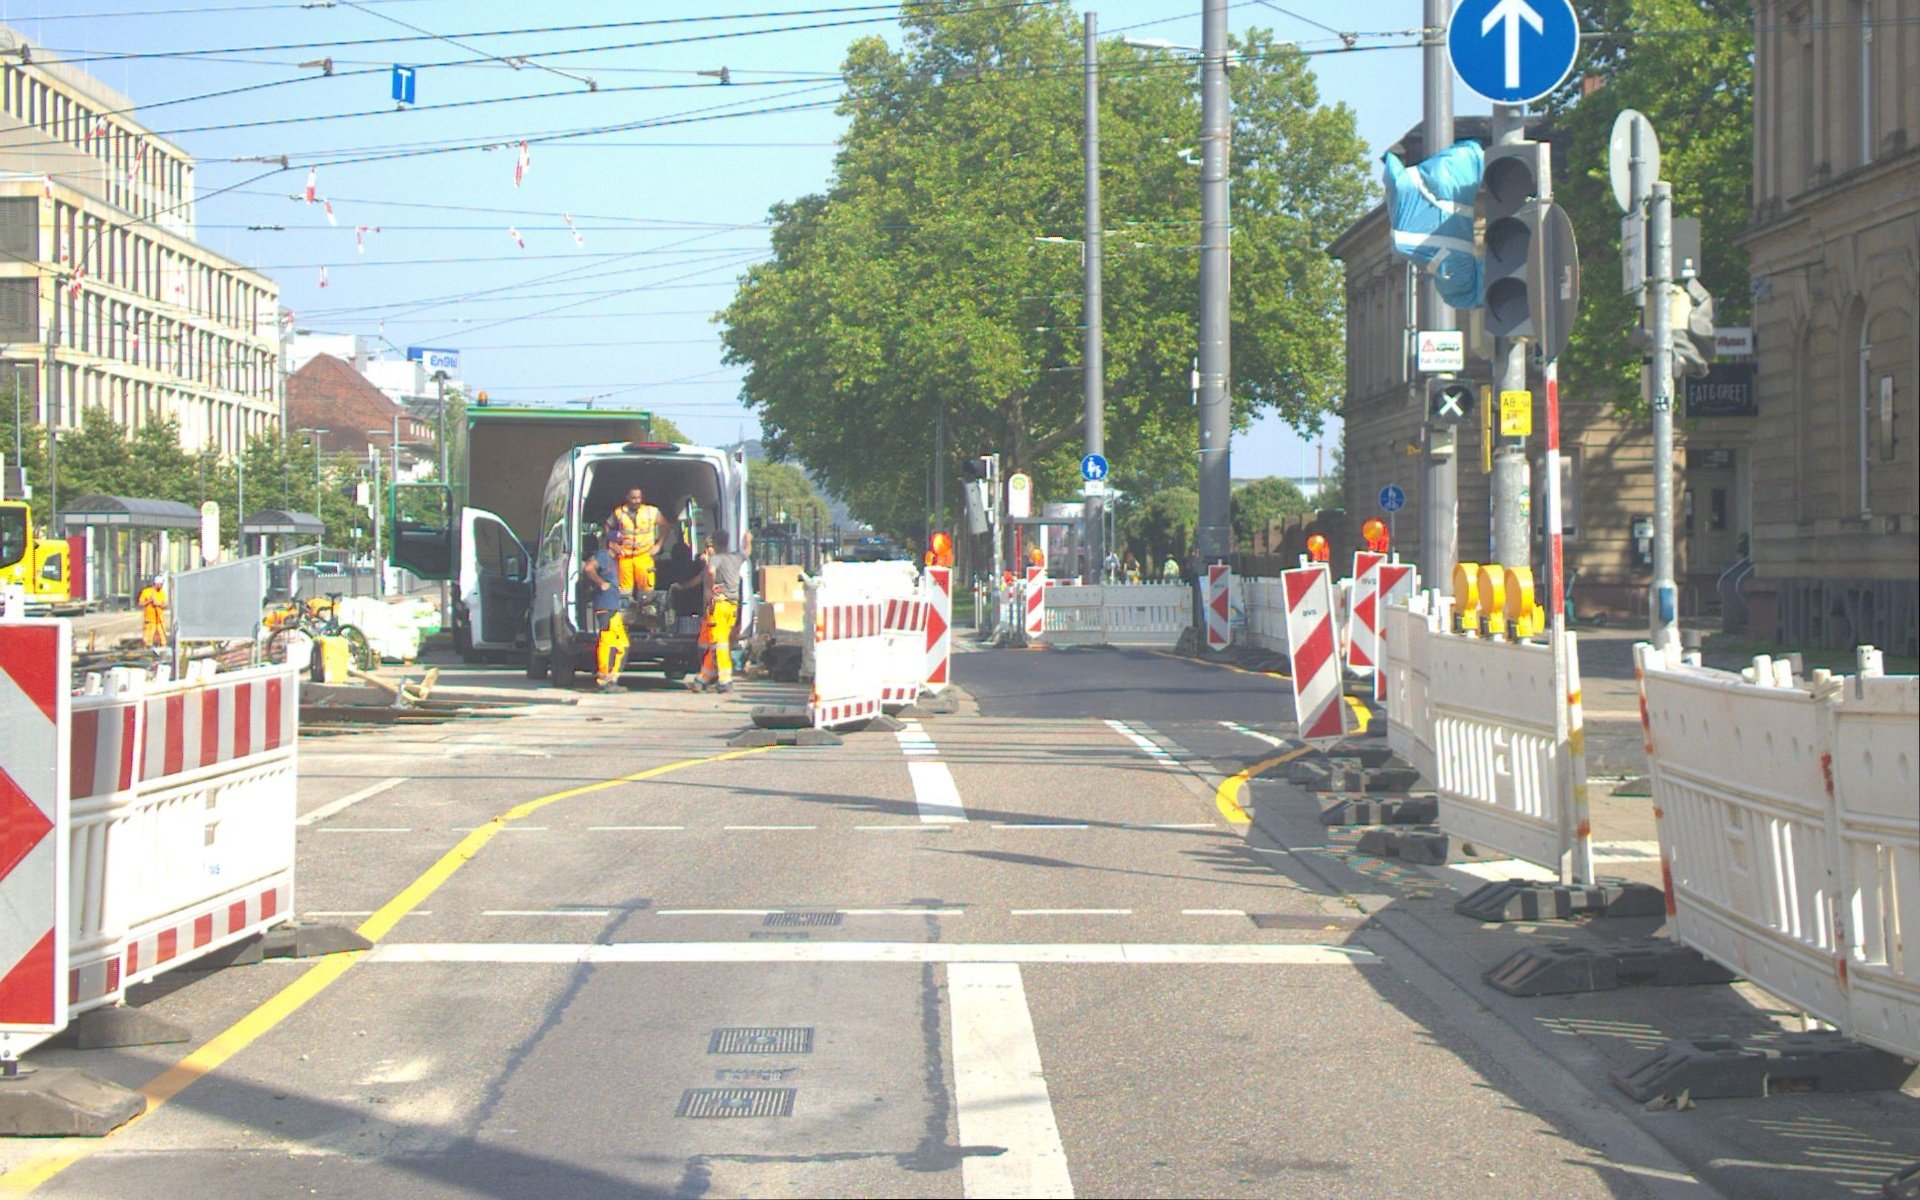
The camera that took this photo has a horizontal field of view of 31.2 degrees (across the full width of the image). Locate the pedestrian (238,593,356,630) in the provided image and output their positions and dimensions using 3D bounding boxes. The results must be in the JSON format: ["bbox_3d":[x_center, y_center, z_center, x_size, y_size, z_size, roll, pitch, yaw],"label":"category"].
[{"bbox_3d":[-11.870,0.202,61.582,1.902,0.634,0.912,0,1,3],"label":"pedestrian"}]

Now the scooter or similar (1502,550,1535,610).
[{"bbox_3d":[11.690,-0.423,71.924,0.422,1.206,1.254,0,3,22],"label":"scooter or similar"}]

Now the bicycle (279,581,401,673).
[{"bbox_3d":[-7.869,0.334,43.592,1.660,1.133,0.616,0,1,42],"label":"bicycle"}]

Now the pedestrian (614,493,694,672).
[{"bbox_3d":[-3.481,-0.201,39.150,0.734,2.007,0.907,-1,0,5],"label":"pedestrian"}]

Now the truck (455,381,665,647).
[{"bbox_3d":[-6.149,-1.272,51.852,2.673,3.666,8.216,-1,1,-10],"label":"truck"}]

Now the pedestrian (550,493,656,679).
[{"bbox_3d":[-3.903,-0.156,37.627,0.735,2.007,0.906,-1,1,31],"label":"pedestrian"}]

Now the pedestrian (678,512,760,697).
[{"bbox_3d":[-2.666,0.044,38.064,0.734,2.007,0.907,-1,0,6],"label":"pedestrian"}]

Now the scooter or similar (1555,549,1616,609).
[{"bbox_3d":[13.177,-0.450,72.423,1.251,1.206,0.423,-2,3,-26],"label":"scooter or similar"}]

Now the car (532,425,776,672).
[{"bbox_3d":[-3.705,-0.601,40.698,2.224,2.720,5.172,-1,1,-12],"label":"car"}]

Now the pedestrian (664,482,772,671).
[{"bbox_3d":[-2.606,-0.255,37.083,0.735,2.007,0.905,-1,1,33],"label":"pedestrian"}]

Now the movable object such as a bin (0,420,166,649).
[{"bbox_3d":[-18.278,-1.135,60.877,3.508,3.999,9.031,0,1,23],"label":"movable object such as a bin"}]

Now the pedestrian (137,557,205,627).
[{"bbox_3d":[-15.063,-0.152,65.626,1.015,1.302,0.982,-1,1,3],"label":"pedestrian"}]

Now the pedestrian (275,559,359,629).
[{"bbox_3d":[-12.143,-0.114,64.946,1.313,1.302,0.797,0,1,23],"label":"pedestrian"}]

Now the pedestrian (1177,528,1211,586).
[{"bbox_3d":[7.051,-1.286,103.666,0.819,1.680,1.012,-5,1,0],"label":"pedestrian"}]
